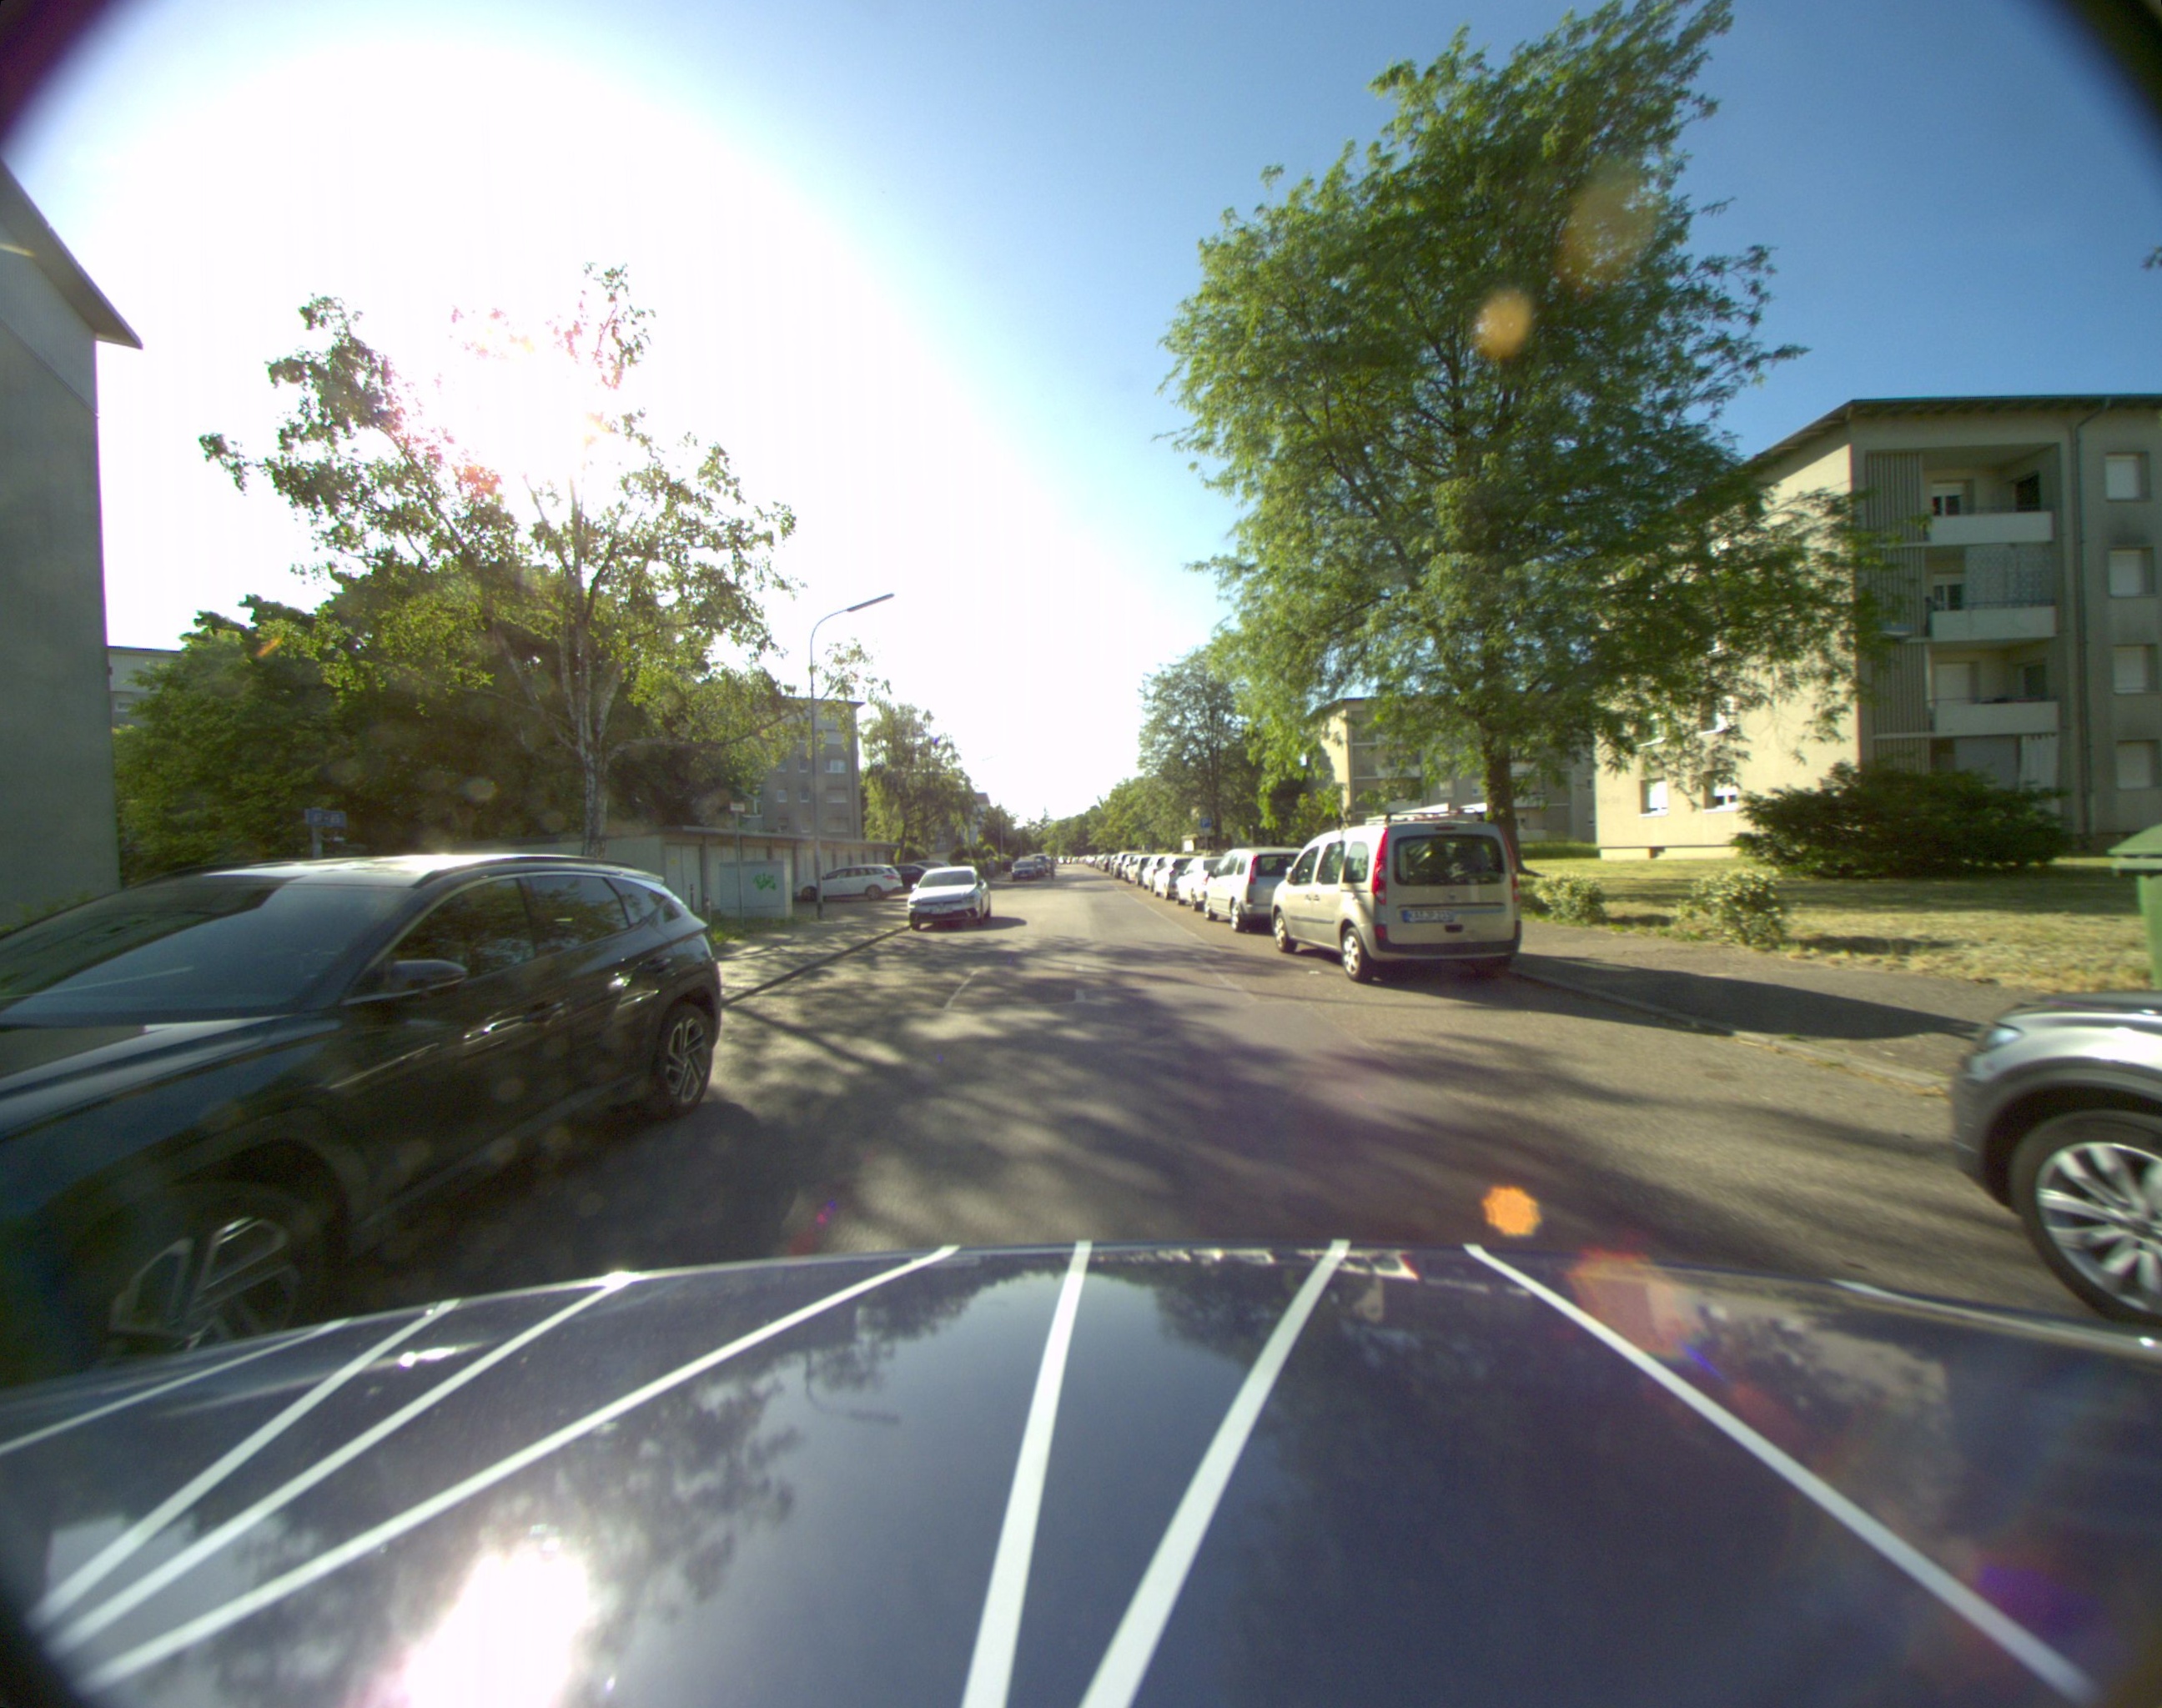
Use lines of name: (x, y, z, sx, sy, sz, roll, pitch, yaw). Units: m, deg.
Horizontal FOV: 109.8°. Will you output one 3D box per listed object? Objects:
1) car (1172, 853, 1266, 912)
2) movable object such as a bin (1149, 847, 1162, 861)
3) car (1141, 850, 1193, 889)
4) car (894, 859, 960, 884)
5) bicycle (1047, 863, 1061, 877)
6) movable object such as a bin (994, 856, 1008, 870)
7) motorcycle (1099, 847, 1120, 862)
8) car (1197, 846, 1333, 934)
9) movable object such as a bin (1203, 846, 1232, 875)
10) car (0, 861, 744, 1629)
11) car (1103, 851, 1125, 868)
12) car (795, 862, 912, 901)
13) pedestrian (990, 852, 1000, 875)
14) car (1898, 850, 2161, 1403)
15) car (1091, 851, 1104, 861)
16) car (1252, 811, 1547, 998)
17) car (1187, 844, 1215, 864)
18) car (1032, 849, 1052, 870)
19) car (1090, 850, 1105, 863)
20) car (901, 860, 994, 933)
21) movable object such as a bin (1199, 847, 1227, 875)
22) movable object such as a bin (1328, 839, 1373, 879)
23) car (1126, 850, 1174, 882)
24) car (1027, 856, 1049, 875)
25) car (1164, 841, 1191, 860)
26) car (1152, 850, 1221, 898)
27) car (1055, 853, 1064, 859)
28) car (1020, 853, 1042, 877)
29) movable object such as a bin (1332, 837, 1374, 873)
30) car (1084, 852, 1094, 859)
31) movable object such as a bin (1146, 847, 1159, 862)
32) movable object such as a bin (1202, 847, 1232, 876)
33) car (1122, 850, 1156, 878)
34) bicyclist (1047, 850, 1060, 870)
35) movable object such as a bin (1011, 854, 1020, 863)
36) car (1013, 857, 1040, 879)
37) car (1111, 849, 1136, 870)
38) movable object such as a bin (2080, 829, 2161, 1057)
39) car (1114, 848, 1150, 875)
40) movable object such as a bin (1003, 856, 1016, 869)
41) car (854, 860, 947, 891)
car: (3.718, 0.710, 21.161, 1.691, 1.456, 4.524, 0, 0, -1)
movable object such as a bin: (7.538, 0.041, 76.939, 1.180, 1.332, 1.343, -3, 0, 1)
car: (3.620, 0.601, 32.539, 1.691, 1.526, 3.890, -2, 0, -1)
car: (-9.987, 1.109, 49.542, 3.954, 1.505, 1.828, -2, 0, -4)
bicycle: (-1.911, 1.119, 54.450, 0.824, 0.896, 2.203, -3, 0, 0)
movable object such as a bin: (-8.498, 0.945, 80.575, 1.226, 1.357, 1.133, -2, 1, 3)
motorcycle: (3.242, 0.070, 86.862, 2.262, 1.717, 0.932, 0, 1, -4)
car: (3.647, 0.644, 15.760, 1.714, 1.591, 3.984, 0, 0, -2)
movable object such as a bin: (7.064, 0.326, 39.359, 1.139, 1.350, 1.243, -5, 0, 1)
car: (-3.389, 0.933, 3.109, 1.913, 1.630, 4.627, -3, 0, -1)
car: (3.036, 0.505, 71.130, 1.759, 1.472, 4.536, 0, 0, -2)
car: (-9.660, 1.152, 32.520, 4.426, 1.505, 1.828, -2, 0, 0)
pedestrian: (-6.956, 0.770, 61.225, 0.705, 1.877, 0.872, 0, 1, 0)
car: (3.841, 0.759, 0.715, 1.750, 1.524, 4.139, -1, 0, 1)
car: (2.361, 0.257, 107.316, 1.758, 1.417, 4.210, 0, 1, 1)
car: (3.790, 0.507, 10.032, 1.859, 1.881, 4.416, -1, 0, -2)
car: (10.514, -0.023, 66.732, 1.575, 1.631, 3.999, -4, 0, -3)
car: (-3.966, 0.559, 77.977, 1.857, 1.923, 4.703, -4, 0, -2)
car: (2.118, 0.340, 100.097, 1.759, 1.626, 4.369, 0, 0, -1)
car: (-3.270, 0.978, 19.327, 1.758, 1.505, 4.103, -4, 0, -3)
movable object such as a bin: (7.083, 0.344, 40.744, 1.139, 1.374, 1.442, -5, 0, 1)
movable object such as a bin: (10.399, 0.199, 29.351, 1.137, 1.412, 1.361, -5, 0, 1)
car: (3.472, 0.596, 38.741, 1.668, 1.504, 3.535, -2, 0, -7)
car: (-3.670, 0.947, 65.279, 1.736, 1.481, 4.499, -4, 0, -3)
car: (8.533, -0.293, 67.434, 1.575, 1.516, 3.999, -4, 0, -3)
car: (3.605, 0.654, 26.550, 1.691, 1.497, 3.816, -2, 0, -2)
car: (-5.757, 0.473, 205.903, 1.659, 1.558, 3.686, -1, 0, -12)
car: (-3.834, 0.801, 58.340, 1.493, 1.708, 2.582, -4, 0, -1)
movable object such as a bin: (11.786, 0.051, 32.987, 1.180, 1.412, 1.462, -5, 0, 1)
car: (1.578, 0.276, 157.841, 1.811, 1.470, 3.939, -1, 0, -3)
movable object such as a bin: (7.378, 0.059, 78.305, 1.180, 1.400, 1.343, -3, 0, 0)
movable object such as a bin: (6.807, 0.385, 38.057, 1.180, 1.332, 1.343, -5, 0, 1)
car: (3.282, 0.542, 43.577, 1.667, 1.504, 3.945, -2, 0, 0)
bicyclist: (-1.948, 0.431, 54.230, 0.812, 1.348, 1.091, -3, 1, 0)
movable object such as a bin: (-10.809, 0.751, 125.238, 1.328, 1.423, 1.029, -3, 1, -7)
car: (-3.830, 0.949, 53.994, 1.736, 1.395, 3.893, -4, 0, -3)
car: (3.300, 0.411, 59.771, 1.758, 1.597, 3.968, 0, 0, 0)
movable object such as a bin: (7.367, 0.538, 4.470, 1.104, 1.412, 1.360, -5, 0, 0)
car: (3.229, 0.449, 48.857, 1.908, 1.630, 4.348, -2, 0, -1)
movable object such as a bin: (-7.412, 0.908, 78.620, 1.028, 1.302, 1.388, 1, 1, 9)
car: (-9.630, 1.126, 40.748, 4.525, 1.505, 1.829, -2, 0, 0)
